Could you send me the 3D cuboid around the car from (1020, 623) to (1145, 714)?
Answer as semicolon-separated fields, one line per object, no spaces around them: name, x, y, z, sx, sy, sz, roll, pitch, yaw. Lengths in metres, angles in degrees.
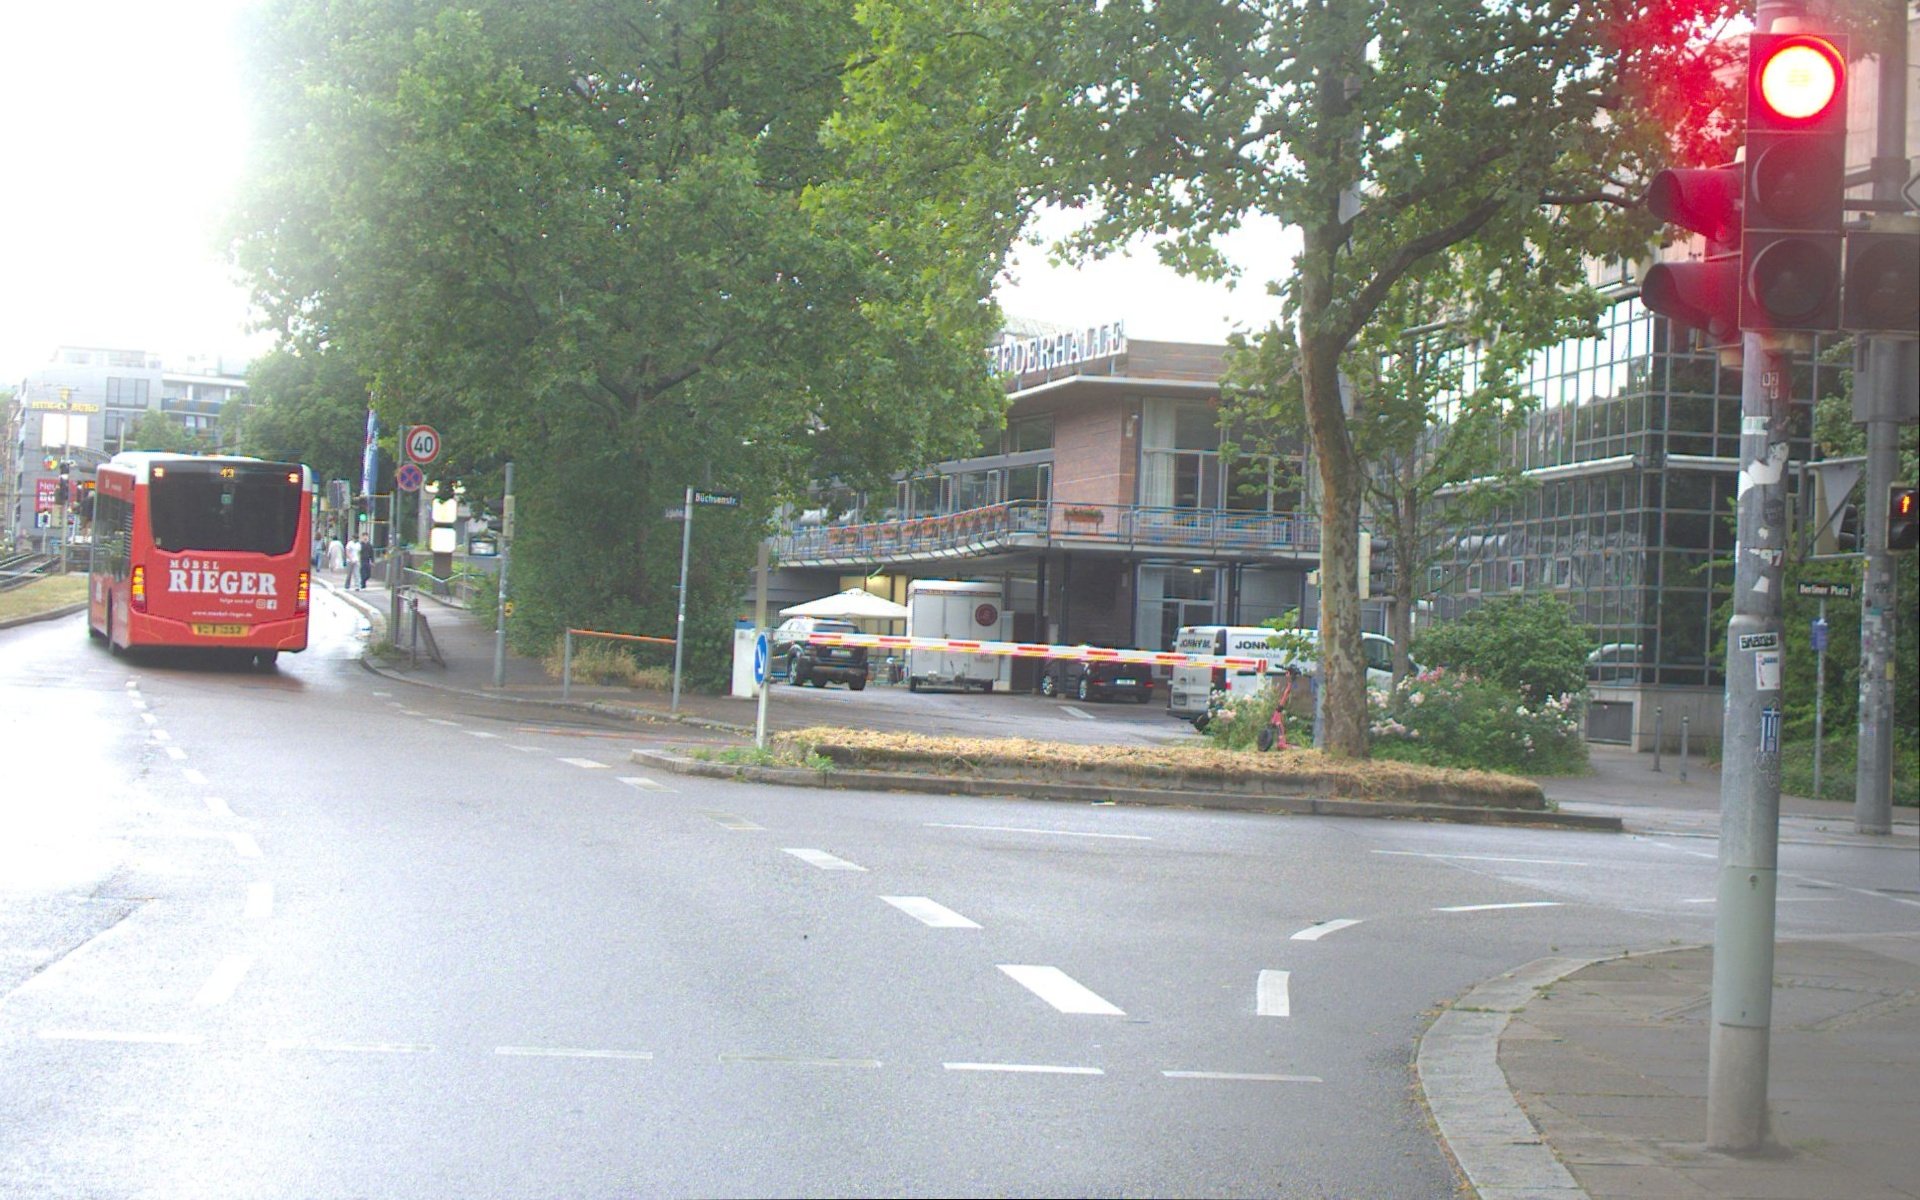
car;2.982;1.653;84.444;1.993;2.007;4.001;4;-1;-13

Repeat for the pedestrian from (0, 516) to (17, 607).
pedestrian;-17.563;-0.712;62.291;0.737;1.634;0.871;4;-1;-10

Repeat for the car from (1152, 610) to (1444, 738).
car;6.102;1.334;62.050;4.745;1.937;2.001;4;-1;-22

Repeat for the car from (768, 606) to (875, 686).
car;-3.565;1.160;87.925;1.993;1.853;4.001;4;-1;-12

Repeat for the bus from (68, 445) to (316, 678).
bus;-11.963;-0.581;52.916;2.654;3.100;9.188;4;-1;-18

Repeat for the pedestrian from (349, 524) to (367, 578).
pedestrian;-18.963;-1.540;108.322;0.371;1.702;0.644;3;0;-1

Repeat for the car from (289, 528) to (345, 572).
car;-27.309;-2.107;146.006;1.993;1.678;4.001;4;-1;-14

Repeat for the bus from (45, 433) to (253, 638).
bus;-14.175;-1.075;59.571;2.549;3.100;9.458;4;-1;-18

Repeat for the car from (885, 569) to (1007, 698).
car;-0.412;0.862;90.462;2.544;3.123;5.031;4;-1;-6
